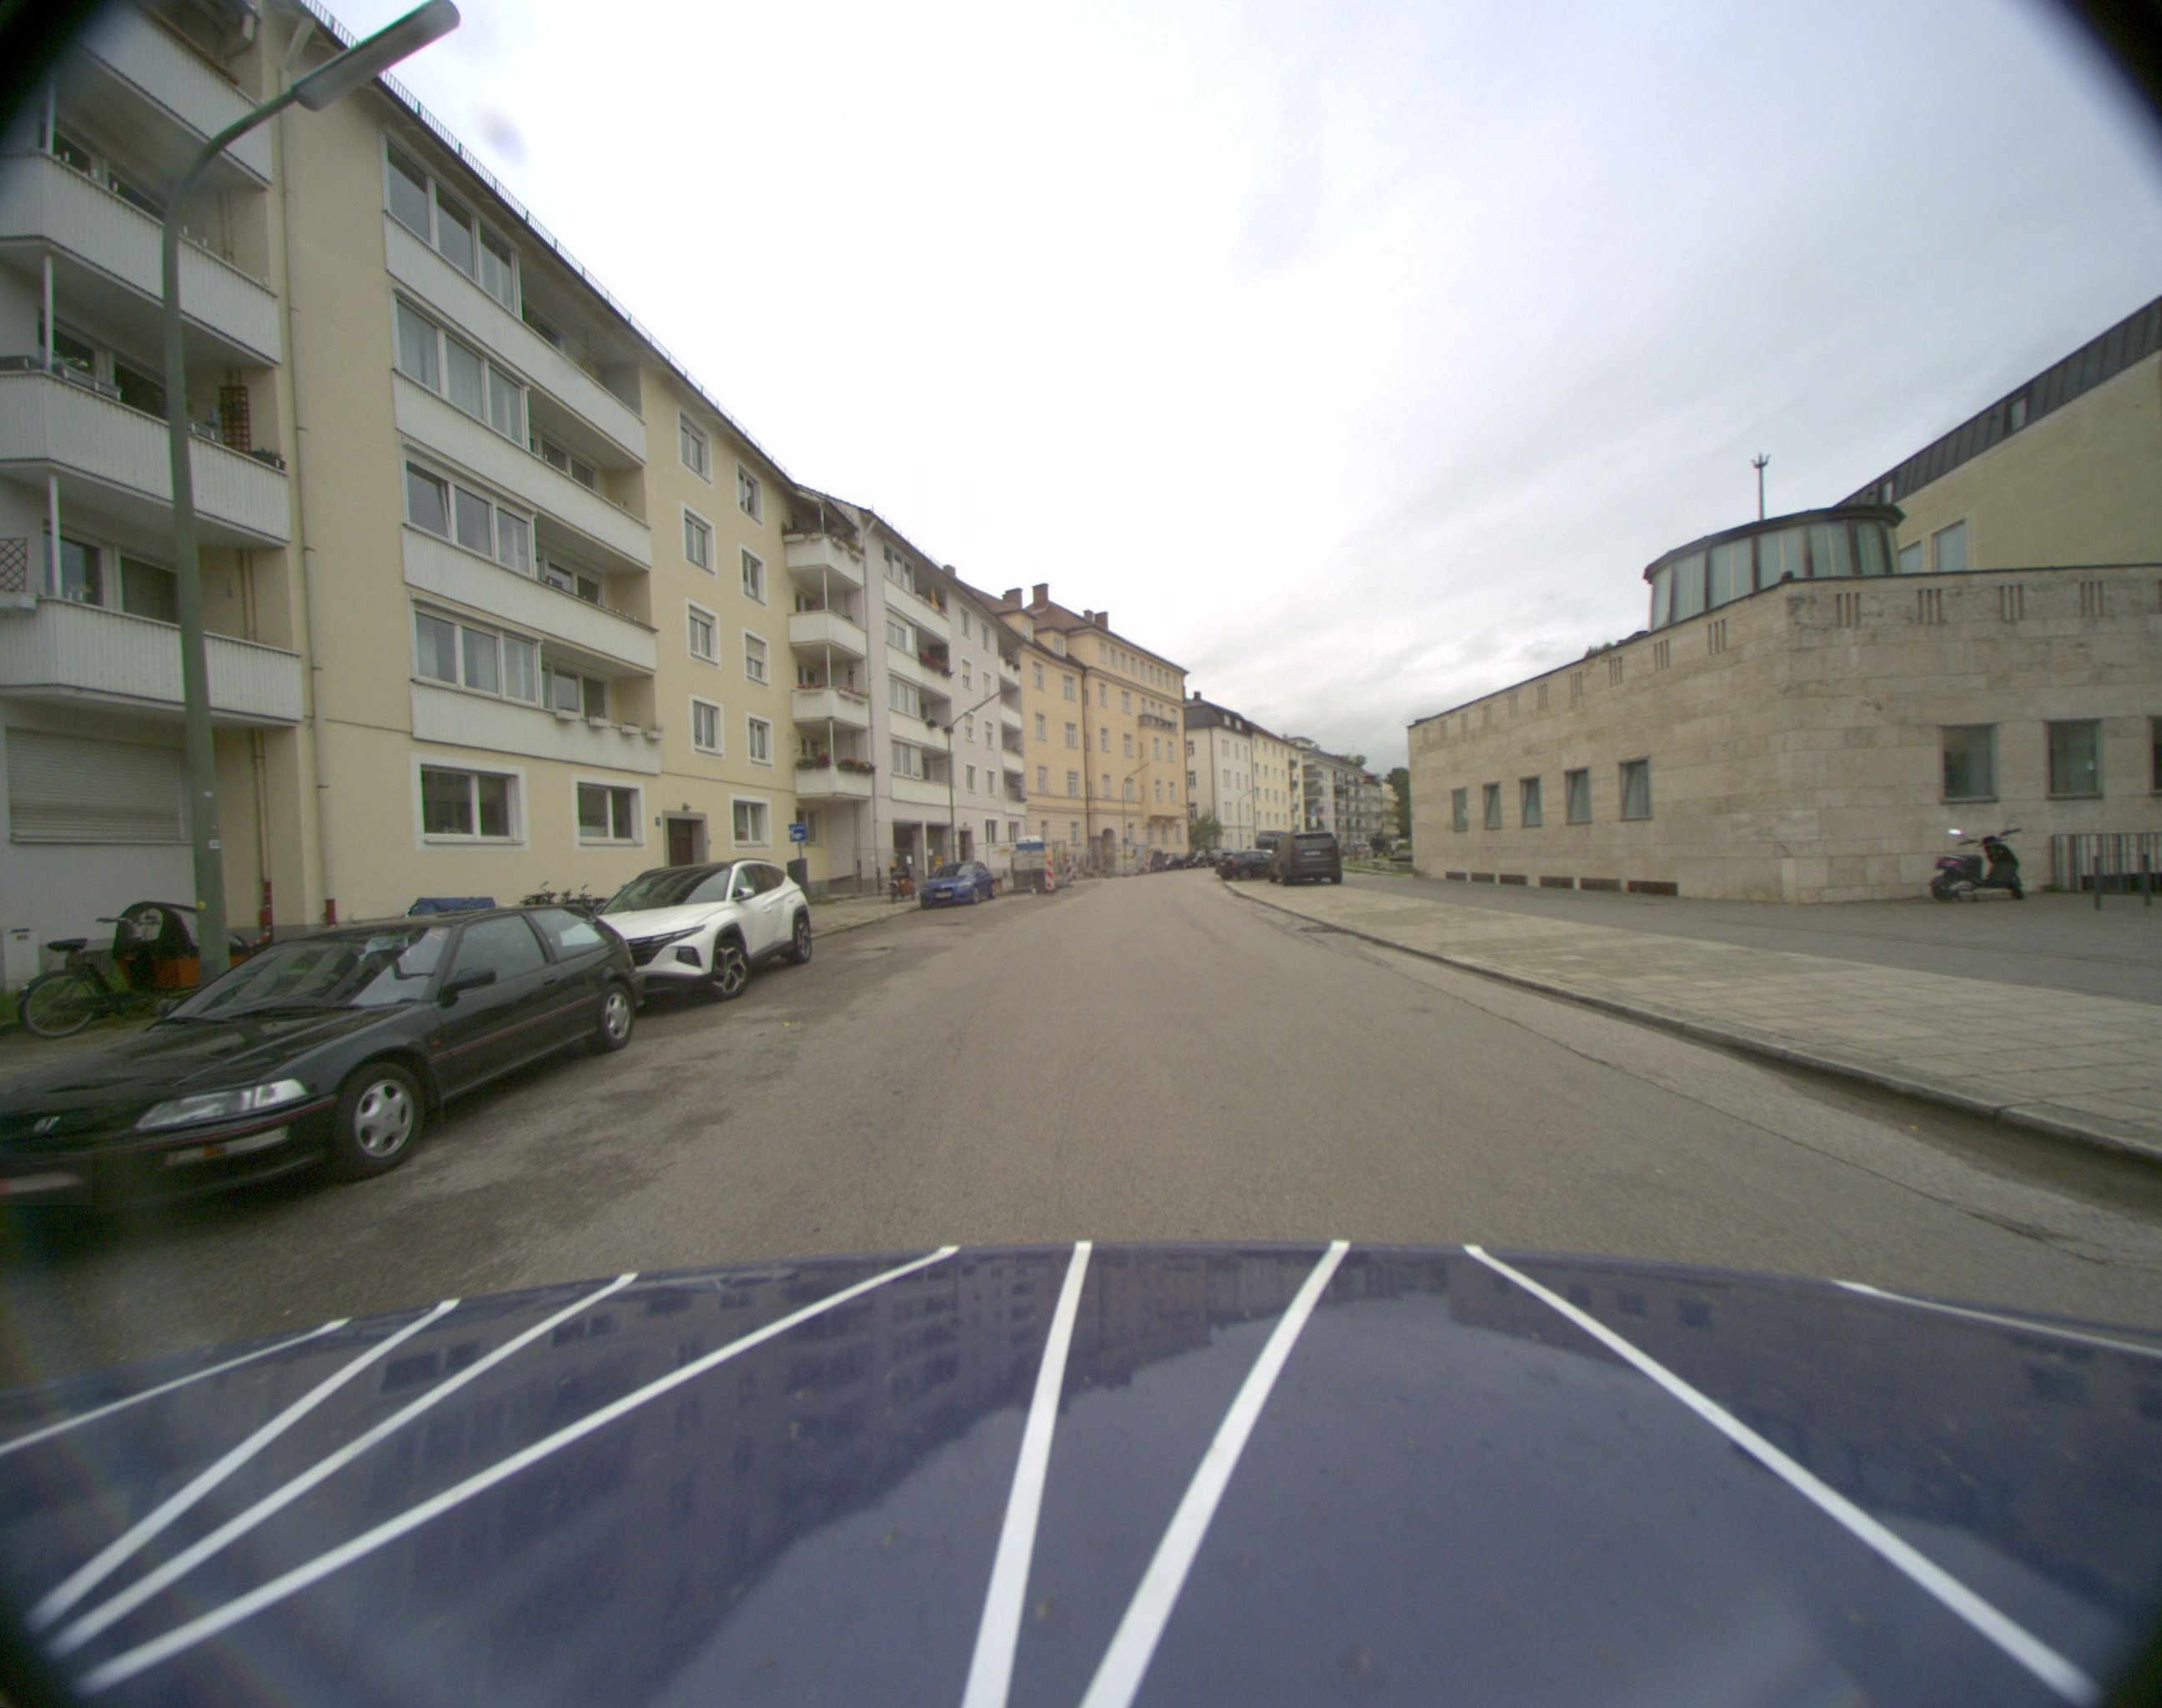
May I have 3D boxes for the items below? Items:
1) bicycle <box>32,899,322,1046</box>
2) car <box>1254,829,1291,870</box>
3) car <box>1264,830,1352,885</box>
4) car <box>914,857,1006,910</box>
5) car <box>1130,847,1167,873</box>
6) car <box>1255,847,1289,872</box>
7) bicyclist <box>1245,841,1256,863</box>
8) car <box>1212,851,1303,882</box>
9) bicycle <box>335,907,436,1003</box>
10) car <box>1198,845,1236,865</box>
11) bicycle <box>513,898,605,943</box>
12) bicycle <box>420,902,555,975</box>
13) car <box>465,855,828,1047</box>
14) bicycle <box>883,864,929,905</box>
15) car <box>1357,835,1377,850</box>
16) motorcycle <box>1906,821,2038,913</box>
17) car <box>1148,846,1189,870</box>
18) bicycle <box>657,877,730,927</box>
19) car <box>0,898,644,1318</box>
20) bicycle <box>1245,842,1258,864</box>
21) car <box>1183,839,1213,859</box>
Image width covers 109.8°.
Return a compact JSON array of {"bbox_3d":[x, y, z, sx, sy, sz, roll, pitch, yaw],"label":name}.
[{"bbox_3d":[-10.526,1.294,9.055,0.745,1.359,2.469,1,0,-7],"label":"bicycle"},{"bbox_3d":[13.138,-0.327,51.867,2.146,2.559,6.218,-1,1,17],"label":"car"},{"bbox_3d":[8.090,0.122,27.574,1.998,1.761,4.816,-2,0,4],"label":"car"},{"bbox_3d":[-3.927,0.921,25.474,1.834,1.433,4.630,-5,0,5],"label":"car"},{"bbox_3d":[5.079,0.418,56.669,1.839,1.788,4.243,-4,0,17],"label":"car"},{"bbox_3d":[11.369,0.272,45.472,1.830,1.379,4.145,1,1,12],"label":"car"},{"bbox_3d":[13.520,-0.167,60.472,0.749,1.707,1.032,-2,0,9],"label":"bicyclist"},{"bbox_3d":[8.523,0.559,36.632,4.011,1.365,1.746,-1,2,-22],"label":"car"},{"bbox_3d":[-10.109,1.417,11.115,0.578,1.151,1.828,-1,1,-26],"label":"bicycle"},{"bbox_3d":[12.932,0.127,71.846,1.929,1.719,4.696,-4,-2,30],"label":"car"},{"bbox_3d":[-10.356,1.320,15.103,1.472,0.852,0.444,1,1,-5],"label":"bicycle"},{"bbox_3d":[-9.849,1.391,12.643,1.830,1.151,0.578,0,1,3],"label":"bicycle"},{"bbox_3d":[-4.875,0.940,9.520,2.032,1.668,4.611,-4,0,-4],"label":"car"},{"bbox_3d":[-6.220,1.044,27.173,0.811,1.315,2.775,-1,1,3],"label":"bicycle"},{"bbox_3d":[38.574,-1.559,102.434,1.945,1.965,4.362,-1,1,28],"label":"car"},{"bbox_3d":[14.846,0.209,12.680,1.568,1.397,0.515,-4,0,-2],"label":"motorcycle"},{"bbox_3d":[7.139,0.300,61.665,1.838,1.720,3.736,-4,0,30],"label":"car"},{"bbox_3d":[-9.976,1.230,19.578,1.703,1.214,0.433,-2,1,7],"label":"bicycle"},{"bbox_3d":[-4.590,1.146,4.865,1.663,1.341,3.801,-4,1,-7],"label":"car"},{"bbox_3d":[13.398,-0.077,59.687,0.796,1.712,3.117,0,0,9],"label":"bicycle"},{"bbox_3d":[10.346,-0.470,67.238,1.509,1.547,2.867,-4,0,32],"label":"car"}]
